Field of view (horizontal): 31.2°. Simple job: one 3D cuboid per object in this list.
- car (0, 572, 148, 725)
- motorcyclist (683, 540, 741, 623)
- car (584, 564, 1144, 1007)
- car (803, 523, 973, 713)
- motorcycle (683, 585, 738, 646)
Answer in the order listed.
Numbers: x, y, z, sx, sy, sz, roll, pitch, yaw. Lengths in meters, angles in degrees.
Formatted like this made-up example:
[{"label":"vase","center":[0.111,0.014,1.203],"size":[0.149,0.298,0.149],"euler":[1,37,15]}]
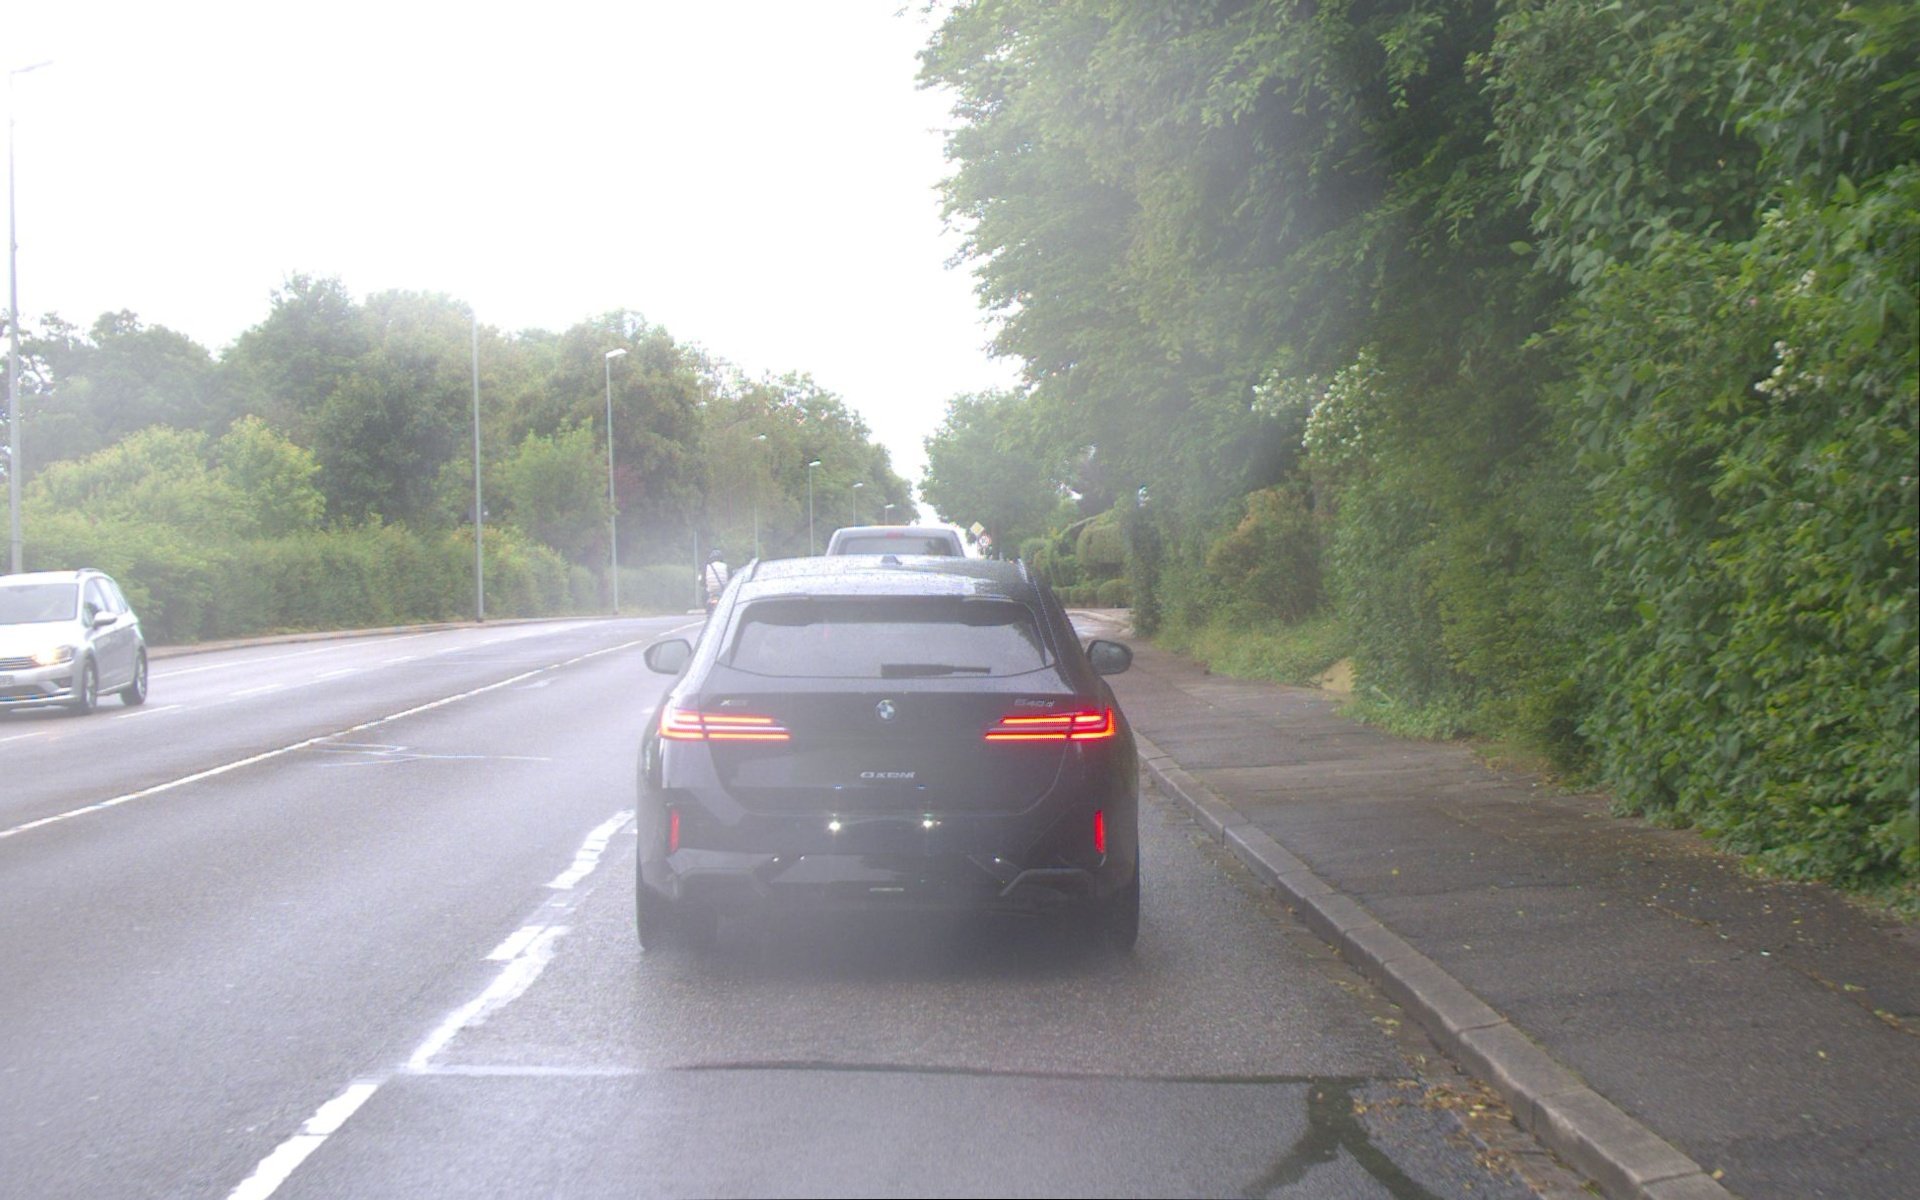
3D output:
[{"label":"car","center":[-10.210,0.509,37.705],"size":[1.756,1.563,4.000],"euler":[-2,1,-2]},{"label":"motorcyclist","center":[-4.768,-0.355,66.130],"size":[1.039,1.562,0.855],"euler":[1,-1,-1]},{"label":"car","center":[-0.318,0.634,13.814],"size":[1.897,1.484,4.000],"euler":[1,0,0]},{"label":"car","center":[-0.734,0.159,36.008],"size":[1.629,1.827,4.000],"euler":[-2,1,-1]},{"label":"motorcycle","center":[-4.783,0.301,66.142],"size":[0.876,1.120,2.741],"euler":[1,0,-1]}]
